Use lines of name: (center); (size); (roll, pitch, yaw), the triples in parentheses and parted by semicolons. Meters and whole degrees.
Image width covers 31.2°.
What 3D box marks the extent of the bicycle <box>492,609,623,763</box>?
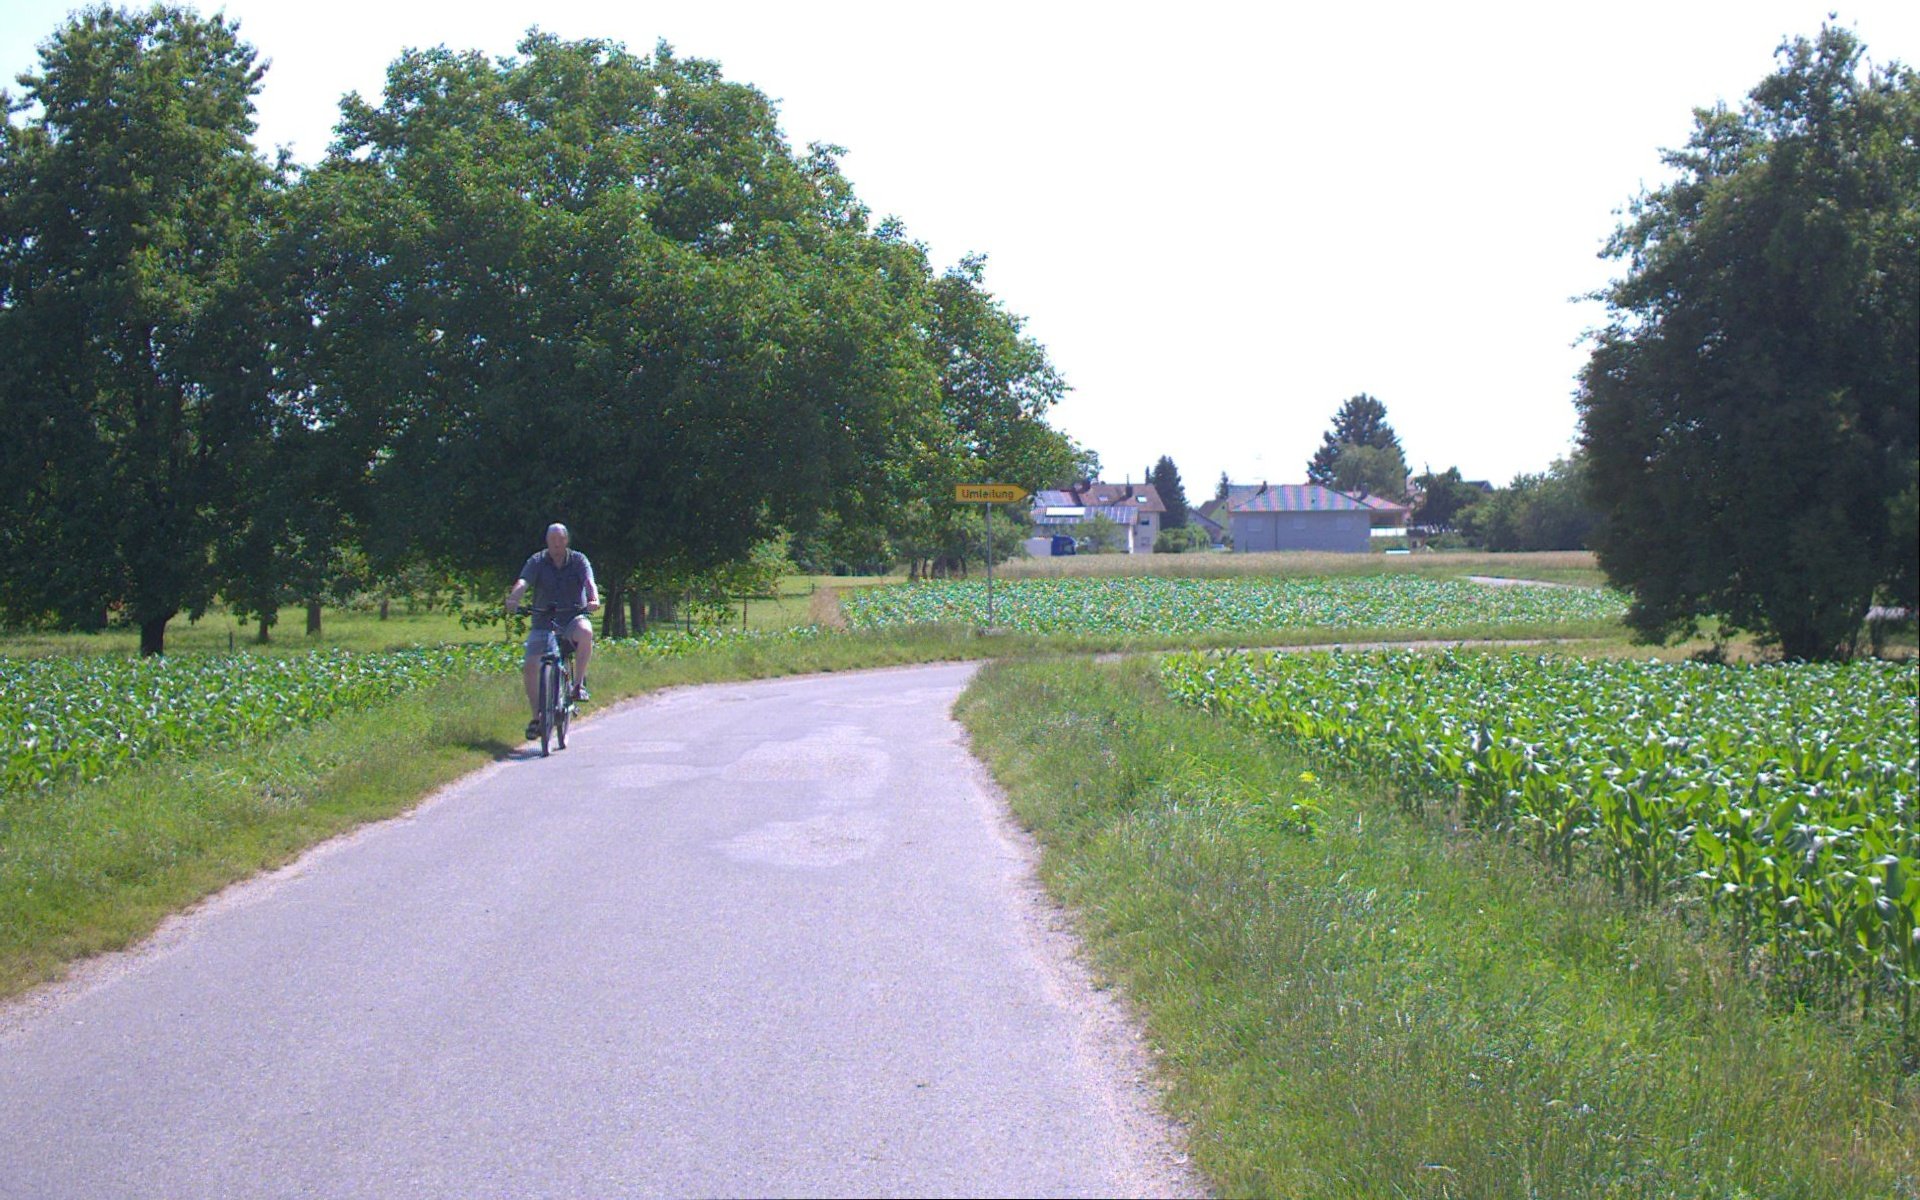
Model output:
bicycle: (-3.167, 0.659, 27.192); (0.750, 1.123, 1.908); (-2, 1, 0)

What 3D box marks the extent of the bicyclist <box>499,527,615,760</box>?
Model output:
bicyclist: (-3.175, 0.337, 27.138); (0.750, 1.785, 0.717); (-2, 0, 1)
